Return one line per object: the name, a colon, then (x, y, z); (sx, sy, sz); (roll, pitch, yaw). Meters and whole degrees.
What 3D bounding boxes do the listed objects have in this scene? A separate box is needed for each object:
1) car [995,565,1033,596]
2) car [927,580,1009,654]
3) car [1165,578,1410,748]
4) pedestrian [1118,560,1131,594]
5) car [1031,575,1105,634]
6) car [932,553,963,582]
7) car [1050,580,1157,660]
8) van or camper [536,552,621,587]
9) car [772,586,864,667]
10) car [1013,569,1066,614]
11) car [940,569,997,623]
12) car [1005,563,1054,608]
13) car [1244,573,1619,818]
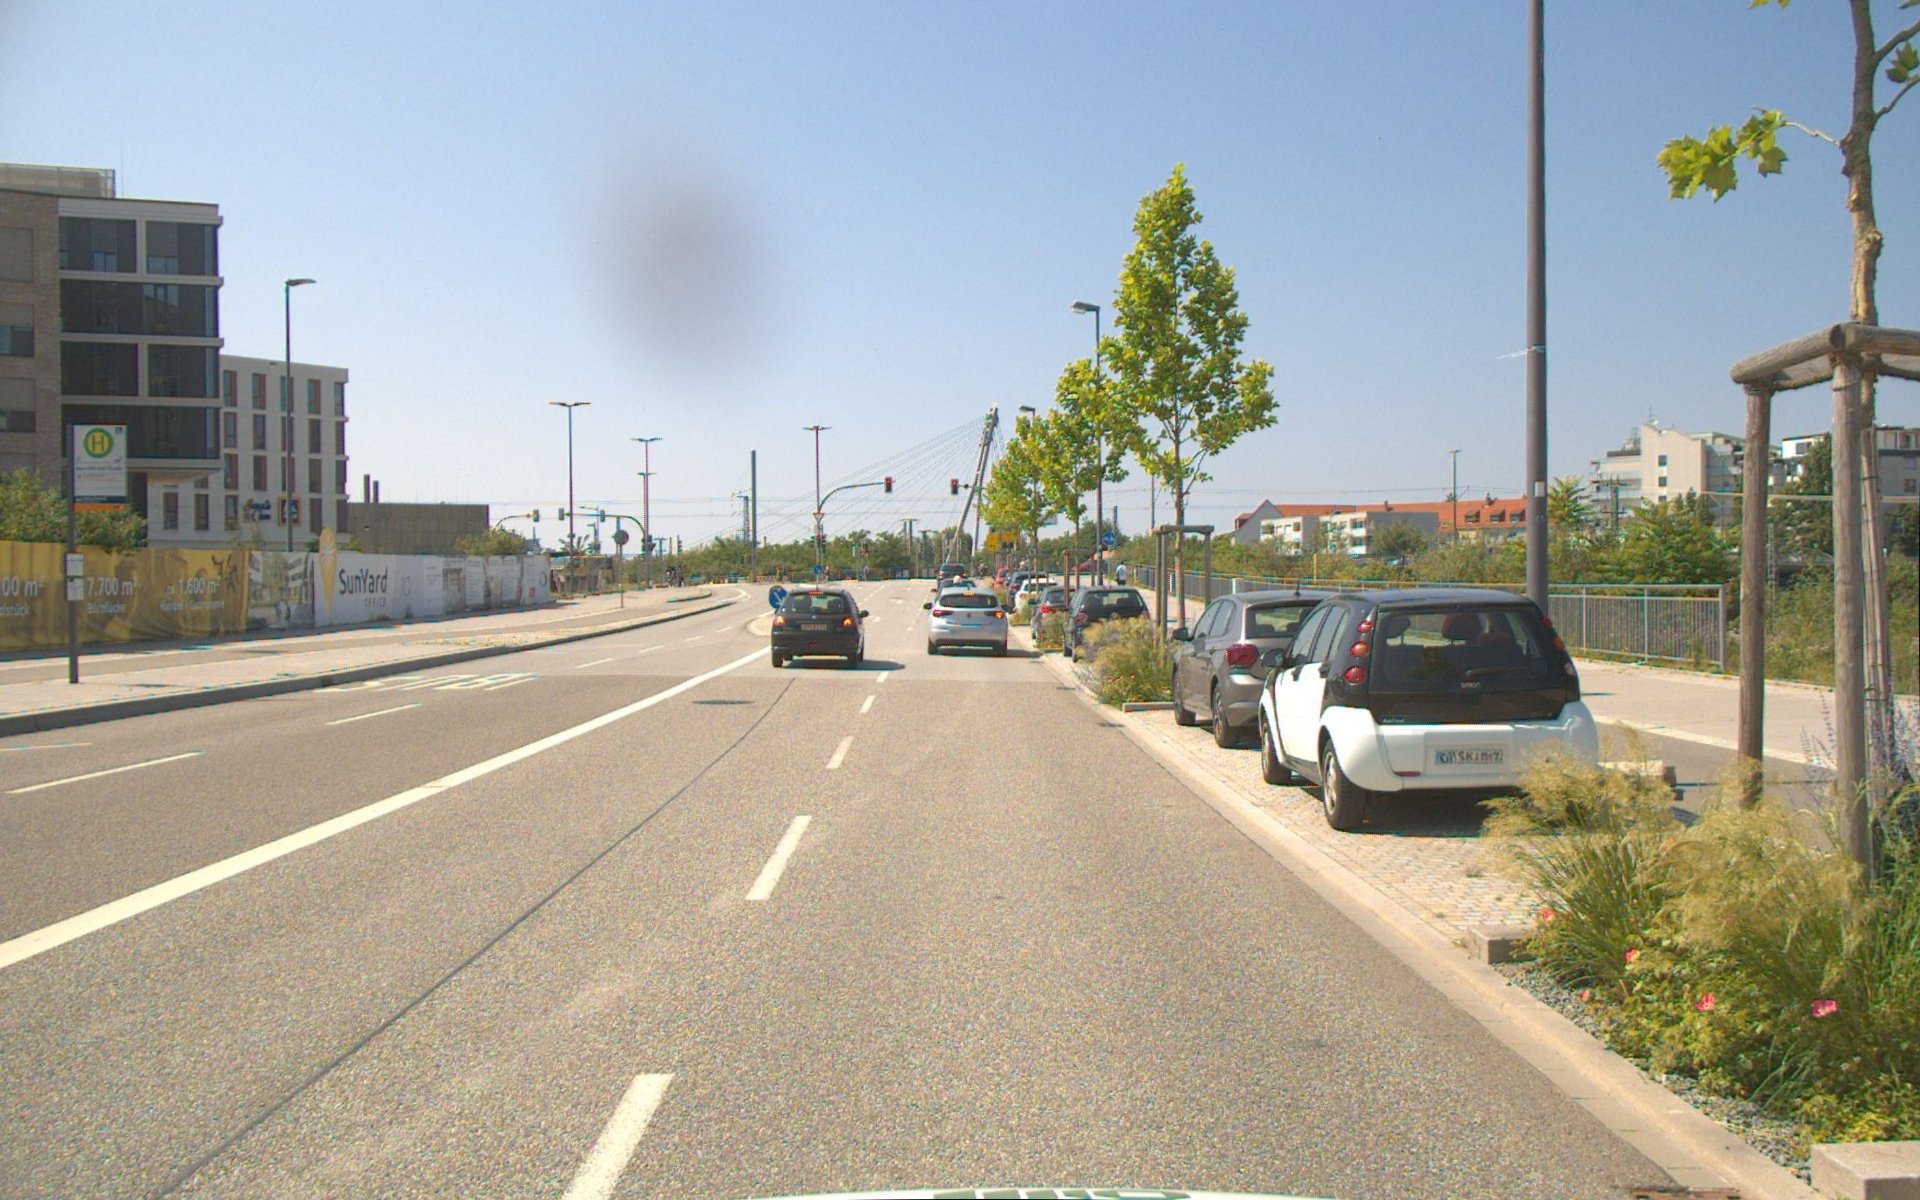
car: (2.735, -1.012, 84.046); (1.742, 1.529, 4.000); (-1, 1, 0)
car: (0.148, 0.343, 37.358); (1.742, 1.467, 4.000); (-1, 2, -1)
car: (3.254, 0.550, 17.173); (1.669, 1.488, 3.954); (-2, 1, -1)
pedestrian: (7.819, -1.085, 78.548); (0.522, 1.603, 0.524); (1, -1, 0)
car: (2.797, 0.098, 43.556); (1.669, 1.426, 4.270); (-2, 0, 1)
car: (-0.707, -1.870, 94.502); (1.742, 1.596, 4.001); (-1, 2, 0)
car: (2.895, 0.402, 34.068); (1.670, 1.488, 3.952); (-2, 0, -2)
van or camper: (-22.886, -1.806, 99.305); (1.965, 1.930, 4.688); (0, -1, 42)
car: (-2.654, 0.457, 31.513); (1.587, 1.441, 3.725); (0, 1, -3)
car: (2.804, -0.338, 59.074); (1.662, 1.501, 4.206); (-2, 1, 0)
car: (0.245, -0.150, 53.134); (1.742, 1.596, 4.001); (-1, 2, 0)
car: (2.744, -0.590, 65.731); (1.785, 1.644, 3.612); (-2, 2, 1)
car: (3.226, 0.559, 12.129); (1.669, 1.488, 4.086); (0, 1, 1)
